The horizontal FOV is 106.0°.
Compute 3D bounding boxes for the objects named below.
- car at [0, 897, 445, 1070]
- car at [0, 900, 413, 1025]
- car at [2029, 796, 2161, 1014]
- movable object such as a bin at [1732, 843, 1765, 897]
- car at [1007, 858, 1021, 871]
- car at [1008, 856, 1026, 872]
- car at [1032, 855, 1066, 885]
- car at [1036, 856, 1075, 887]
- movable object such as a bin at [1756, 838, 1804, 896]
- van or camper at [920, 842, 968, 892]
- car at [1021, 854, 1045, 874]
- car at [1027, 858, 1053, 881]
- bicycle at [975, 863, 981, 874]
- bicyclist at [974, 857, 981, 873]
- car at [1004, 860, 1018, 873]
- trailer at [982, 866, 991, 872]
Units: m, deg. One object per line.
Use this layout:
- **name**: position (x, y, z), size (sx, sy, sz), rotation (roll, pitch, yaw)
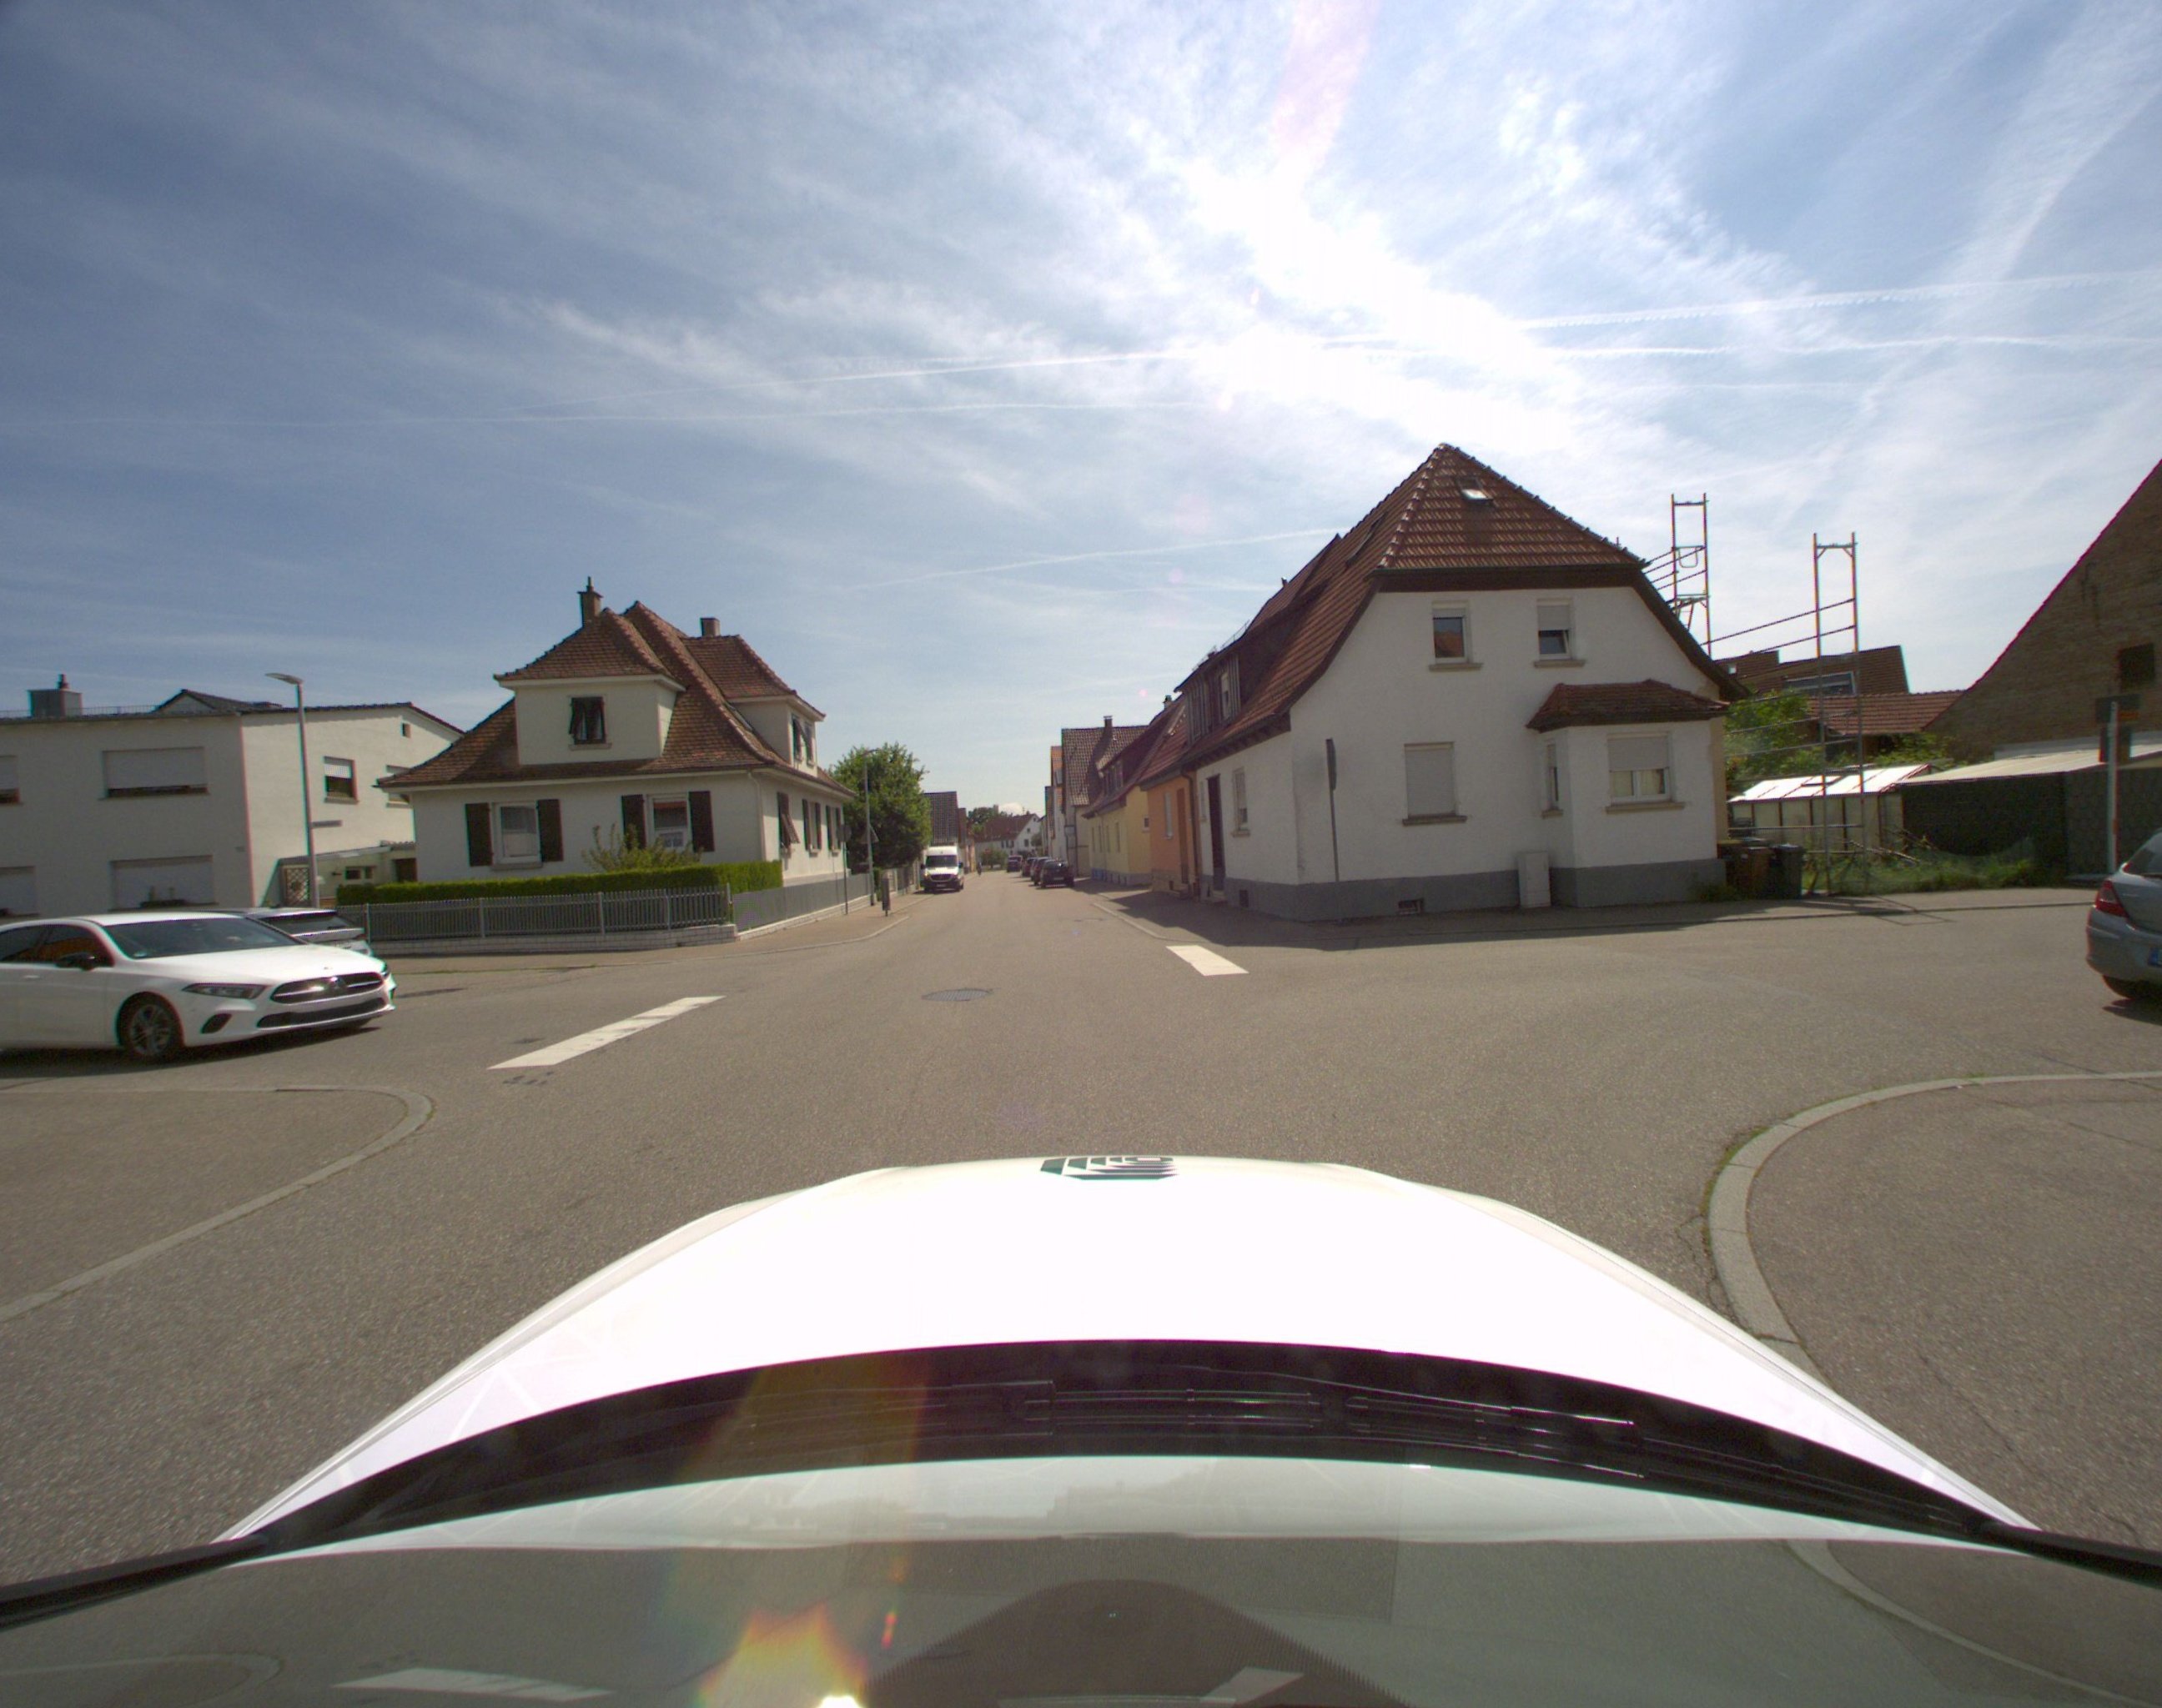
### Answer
- **car**: position (-9.569, 1.321, 8.605), size (4.451, 1.398, 1.935), rotation (-3, 0, 10)
- **car**: position (-13.355, 1.606, 12.578), size (4.557, 1.438, 1.759), rotation (-3, 0, 0)
- **car**: position (9.521, 0.254, 5.568), size (3.971, 1.503, 1.696), rotation (-3, 1, 2)
- **movable object such as a bin**: position (11.964, 0.294, 14.608), size (0.227, 0.946, 0.359), rotation (-3, -1, -9)
- **car**: position (-8.697, 1.343, 105.639), size (1.512, 1.567, 3.182), rotation (-3, 0, -2)
- **car**: position (-9.354, 1.393, 119.691), size (2.122, 2.158, 4.736), rotation (-4, 0, 1)
- **car**: position (-1.941, 0.943, 47.951), size (1.726, 1.599, 4.246), rotation (-3, 0, -5)
- **car**: position (-1.389, 0.896, 42.432), size (1.609, 1.431, 3.744), rotation (-3, 0, -7)
- **movable object such as a bin**: position (12.420, 0.222, 14.476), size (0.584, 0.992, 0.288), rotation (-3, -1, -8)
- **van or camper**: position (-7.872, 0.742, 47.375), size (2.181, 2.571, 6.793), rotation (-3, 0, -6)
- **car**: position (-4.443, 0.942, 74.850), size (1.874, 1.700, 4.172), rotation (-3, 0, -7)
- **car**: position (-3.030, 1.137, 59.817), size (1.672, 1.559, 3.032), rotation (-3, 0, -7)
- **bicycle**: position (-11.756, 1.633, 92.995), size (0.669, 1.132, 2.184), rotation (-3, 0, -6)
- **bicyclist**: position (-11.813, 1.219, 93.047), size (0.712, 1.798, 0.939), rotation (-3, 0, -7)
- **car**: position (-9.446, 1.654, 110.208), size (1.512, 1.624, 3.181), rotation (-4, 0, -2)
- **trailer**: position (-15.629, 2.479, 134.781), size (1.499, 0.927, 1.011), rotation (-2, -1, -4)
